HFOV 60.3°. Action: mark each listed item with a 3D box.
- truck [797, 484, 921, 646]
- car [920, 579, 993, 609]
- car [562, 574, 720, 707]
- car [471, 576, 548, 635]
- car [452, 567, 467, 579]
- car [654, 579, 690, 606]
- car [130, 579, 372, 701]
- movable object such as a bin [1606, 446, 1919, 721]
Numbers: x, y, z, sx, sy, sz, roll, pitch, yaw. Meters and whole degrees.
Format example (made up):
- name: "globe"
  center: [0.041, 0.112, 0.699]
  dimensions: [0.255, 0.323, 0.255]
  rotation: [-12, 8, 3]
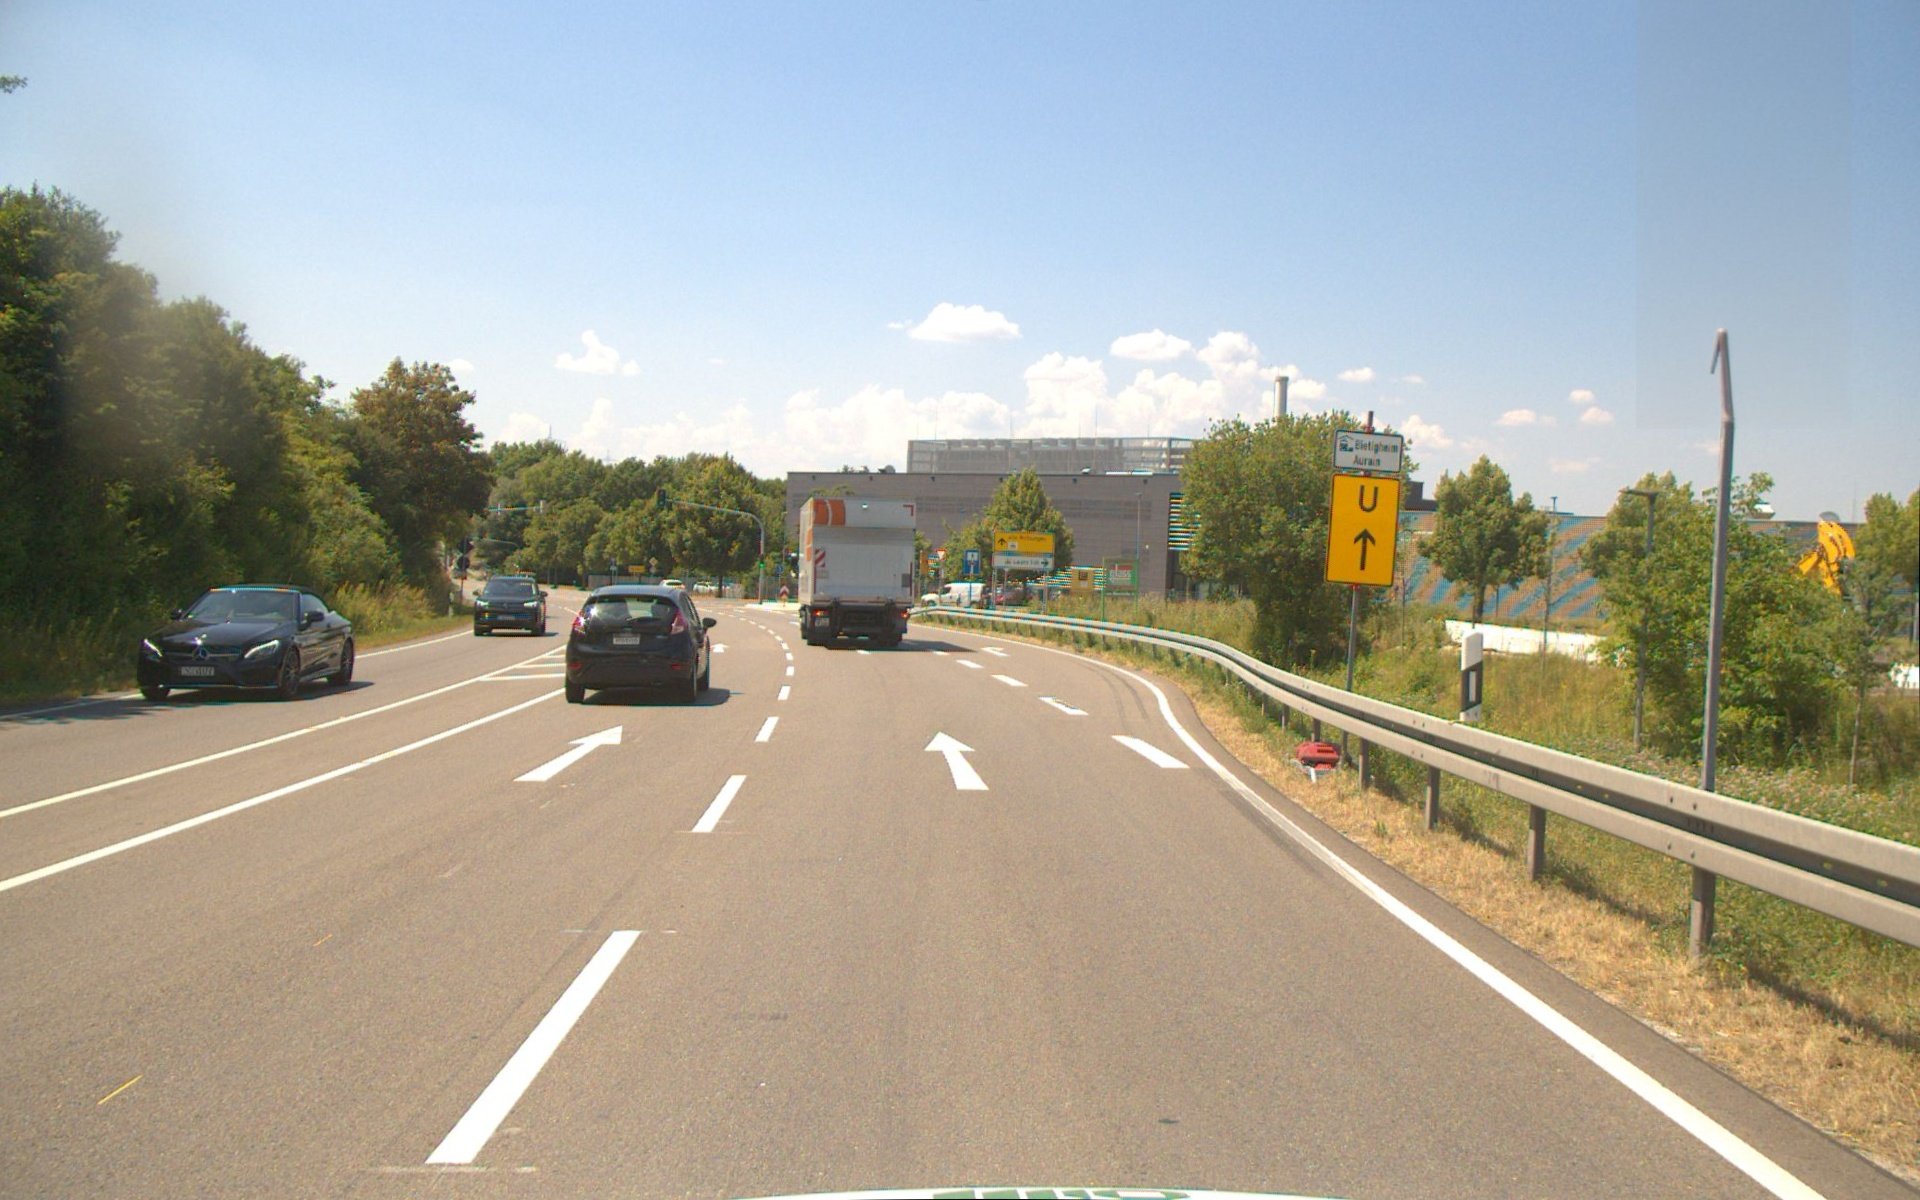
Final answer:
- name: "truck"
  center: [-2.838, -0.936, 43.827]
  dimensions: [2.750, 3.775, 9.096]
  rotation: [1, 1, -6]
- name: "car"
  center: [-0.232, -0.415, 114.092]
  dimensions: [4.644, 1.966, 2.155]
  rotation: [1, 0, 12]
- name: "car"
  center: [-4.226, 0.472, 22.451]
  dimensions: [1.621, 1.519, 4.204]
  rotation: [2, 2, -5]
- name: "car"
  center: [-13.038, 0.143, 48.110]
  dimensions: [1.959, 1.620, 4.667]
  rotation: [1, 0, -13]
- name: "car"
  center: [-71.123, -3.850, 234.916]
  dimensions: [1.961, 1.713, 3.982]
  rotation: [1, 0, -16]
- name: "car"
  center: [-20.087, -0.527, 115.279]
  dimensions: [1.913, 1.693, 3.981]
  rotation: [4, 0, -17]
- name: "car"
  center: [-9.412, 0.472, 22.365]
  dimensions: [1.782, 1.467, 4.636]
  rotation: [1, 0, -7]
- name: "movable object such as a bin"
  center: [18.610, -0.530, 37.283]
  dimensions: [3.359, 5.350, 9.219]
  rotation: [3, 3, -6]
